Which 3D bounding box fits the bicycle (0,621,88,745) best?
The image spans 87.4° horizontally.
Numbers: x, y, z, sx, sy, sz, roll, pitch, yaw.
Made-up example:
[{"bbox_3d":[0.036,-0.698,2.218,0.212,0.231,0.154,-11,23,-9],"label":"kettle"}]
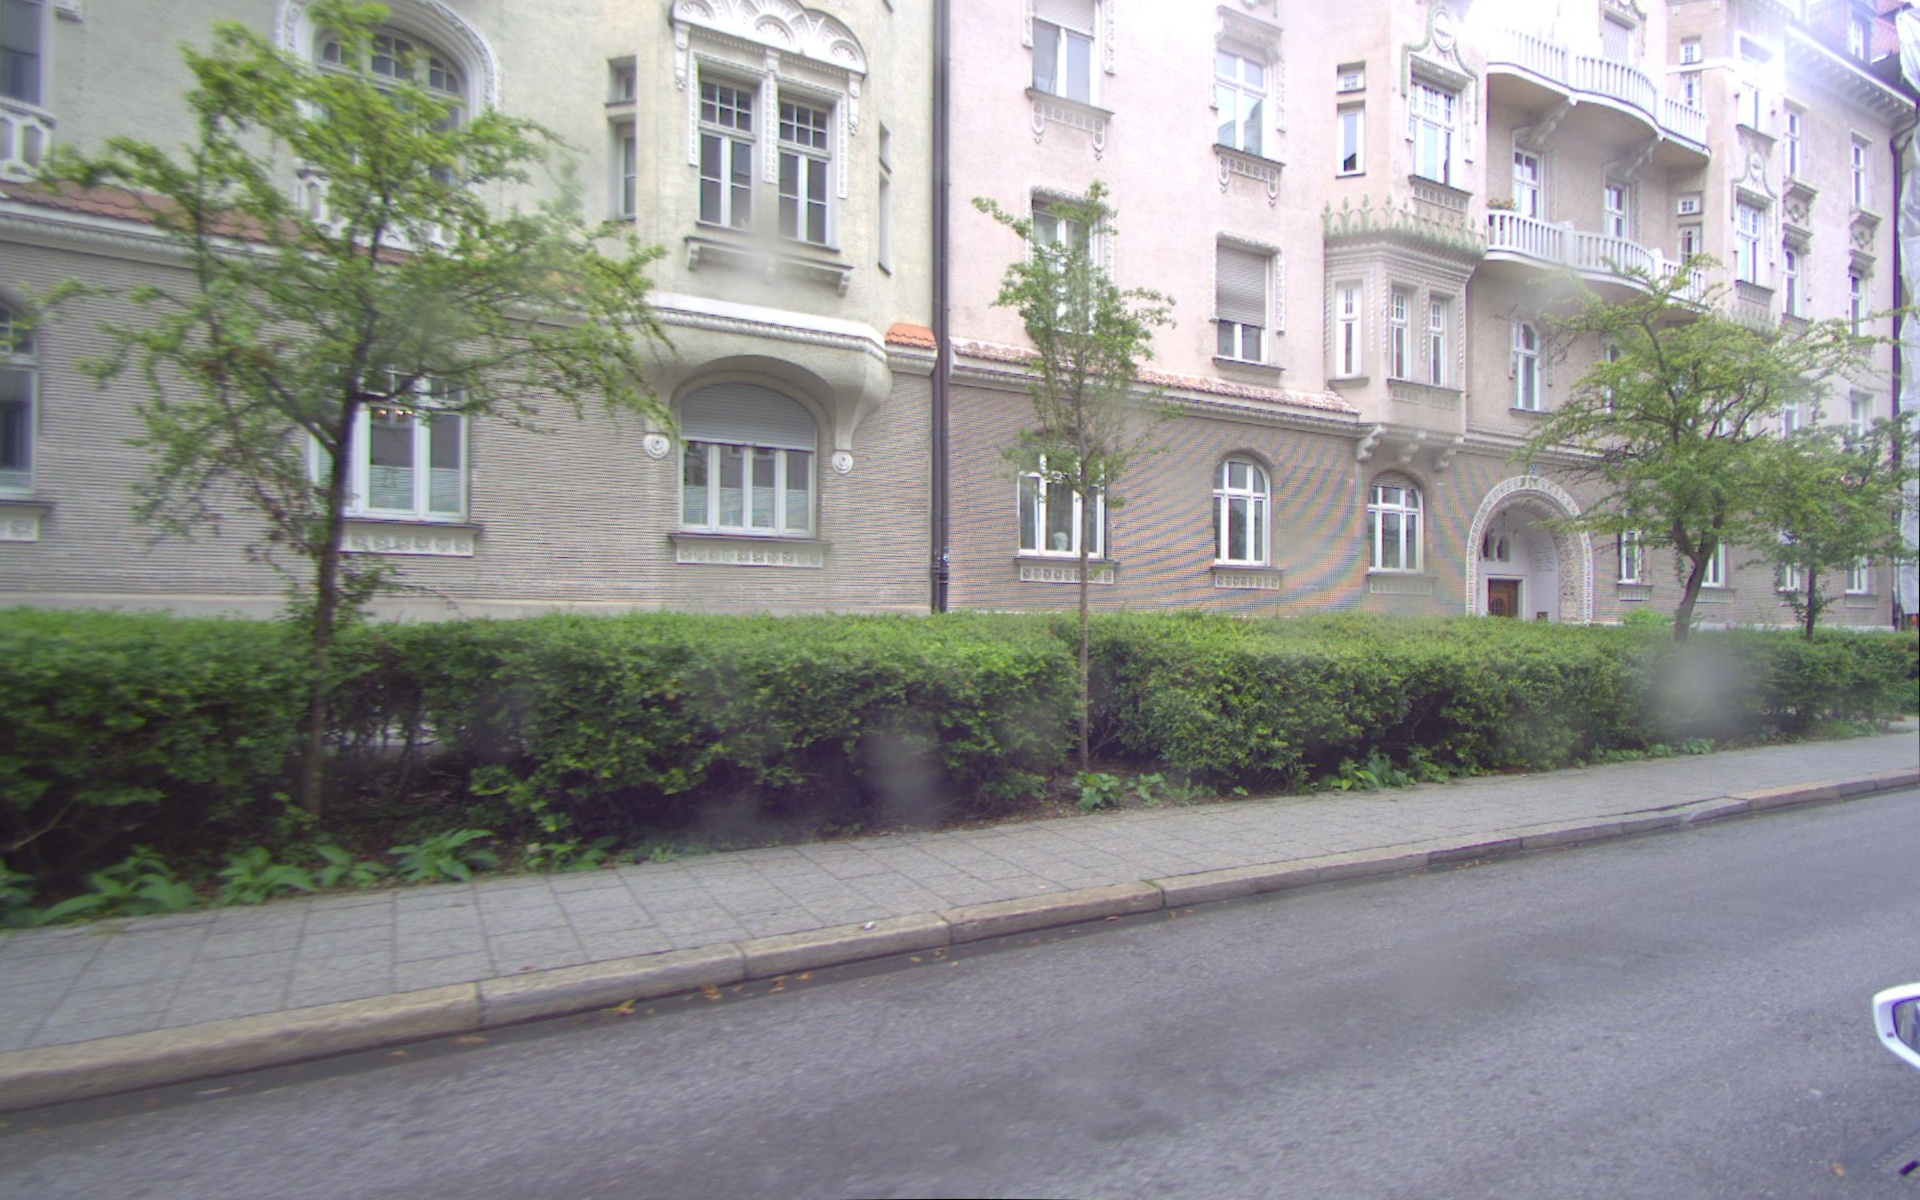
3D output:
[{"bbox_3d":[-9.686,0.793,9.687,1.814,1.178,0.614,1,-2,-31],"label":"bicycle"}]
